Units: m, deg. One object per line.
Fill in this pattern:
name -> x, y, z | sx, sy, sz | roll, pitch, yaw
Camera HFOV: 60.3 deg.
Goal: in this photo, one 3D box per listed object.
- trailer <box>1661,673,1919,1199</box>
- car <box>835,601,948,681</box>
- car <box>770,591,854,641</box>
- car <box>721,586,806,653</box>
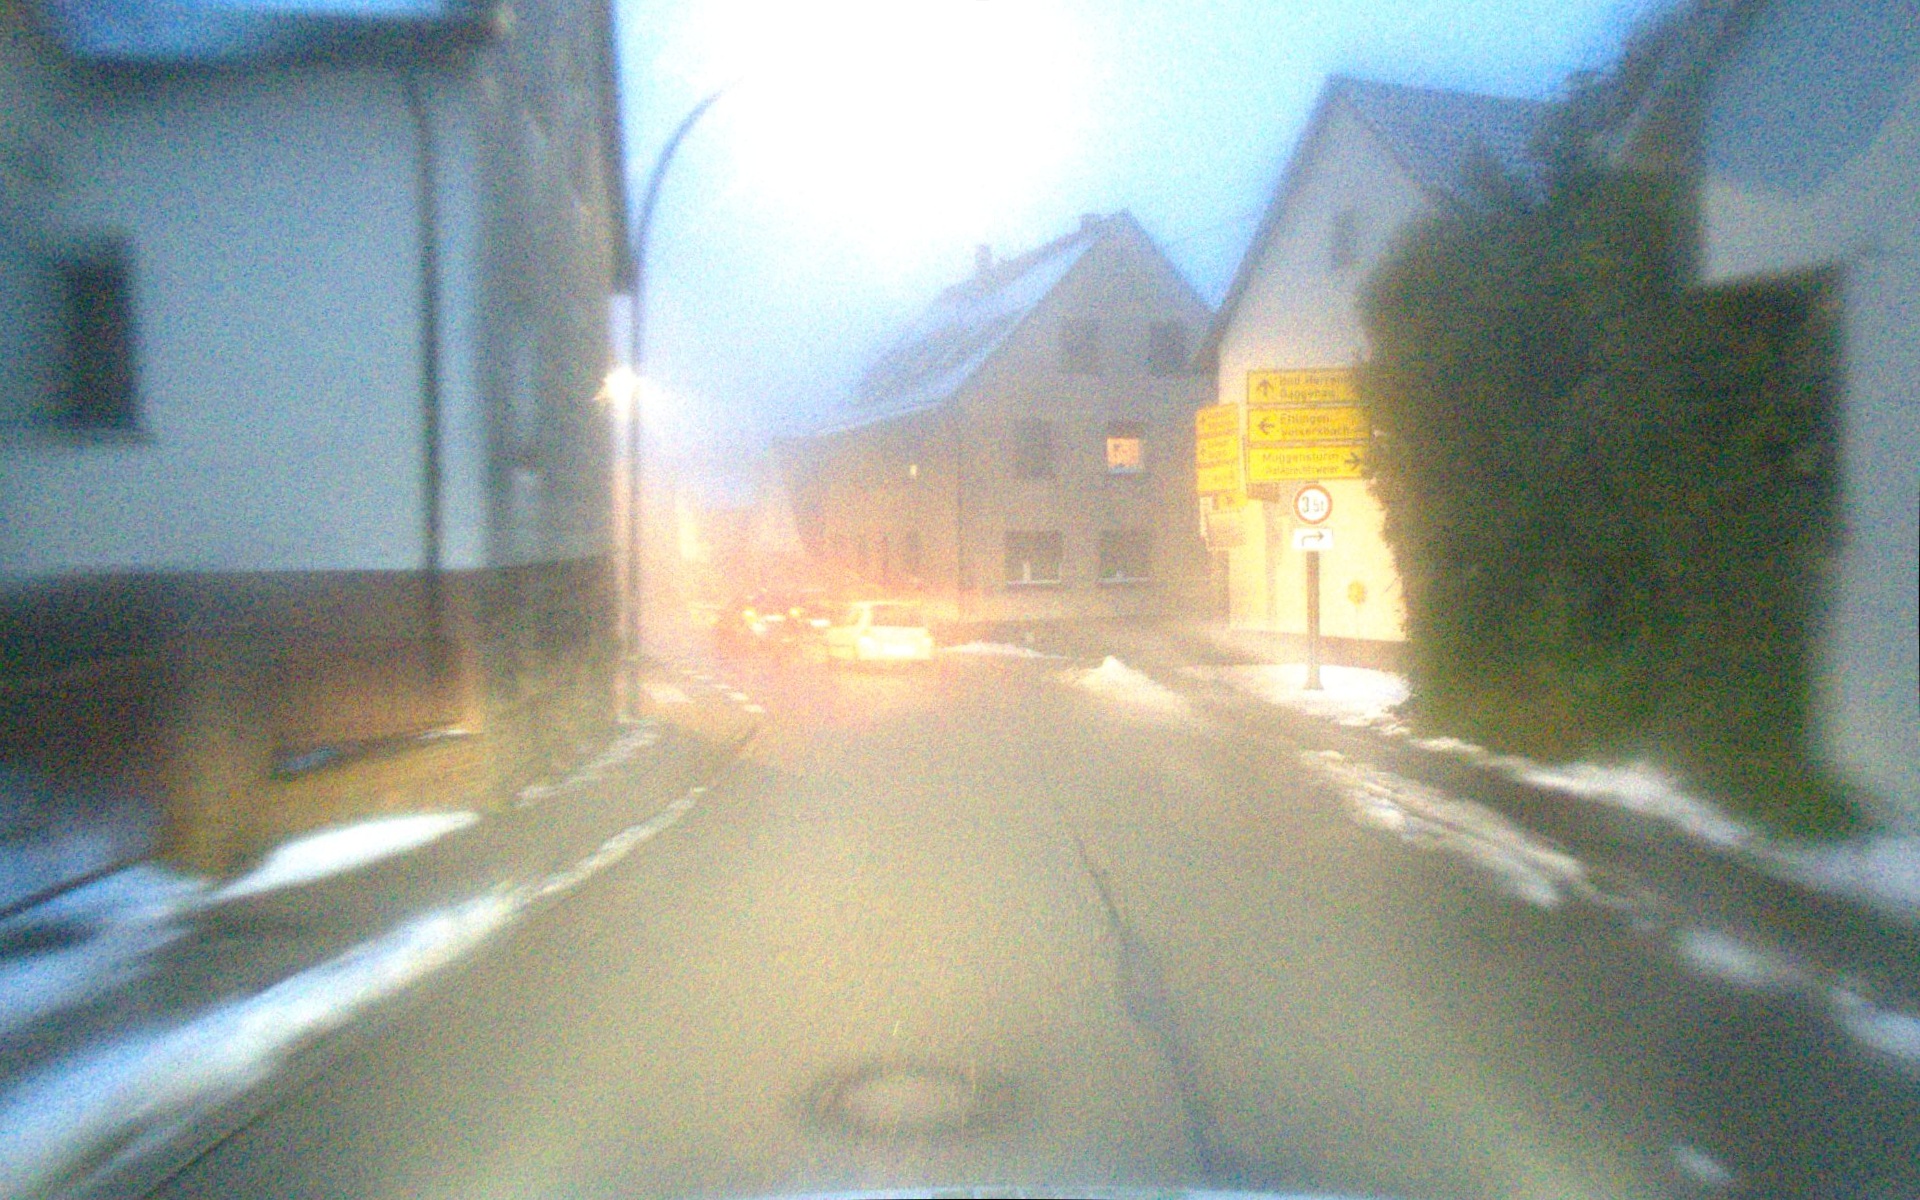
trailer -> 2.910, 0.938, 2.404 | 1.952, 1.412, 4.733 | 1, 0, 3
car -> -1.483, 0.854, 34.485 | 1.956, 1.534, 3.992 | 1, -1, -8
car -> -4.763, 0.475, 52.725 | 1.880, 1.507, 4.262 | -1, 0, -16
car -> -5.521, 0.559, 46.181 | 1.959, 1.758, 3.987 | 1, -1, -12
